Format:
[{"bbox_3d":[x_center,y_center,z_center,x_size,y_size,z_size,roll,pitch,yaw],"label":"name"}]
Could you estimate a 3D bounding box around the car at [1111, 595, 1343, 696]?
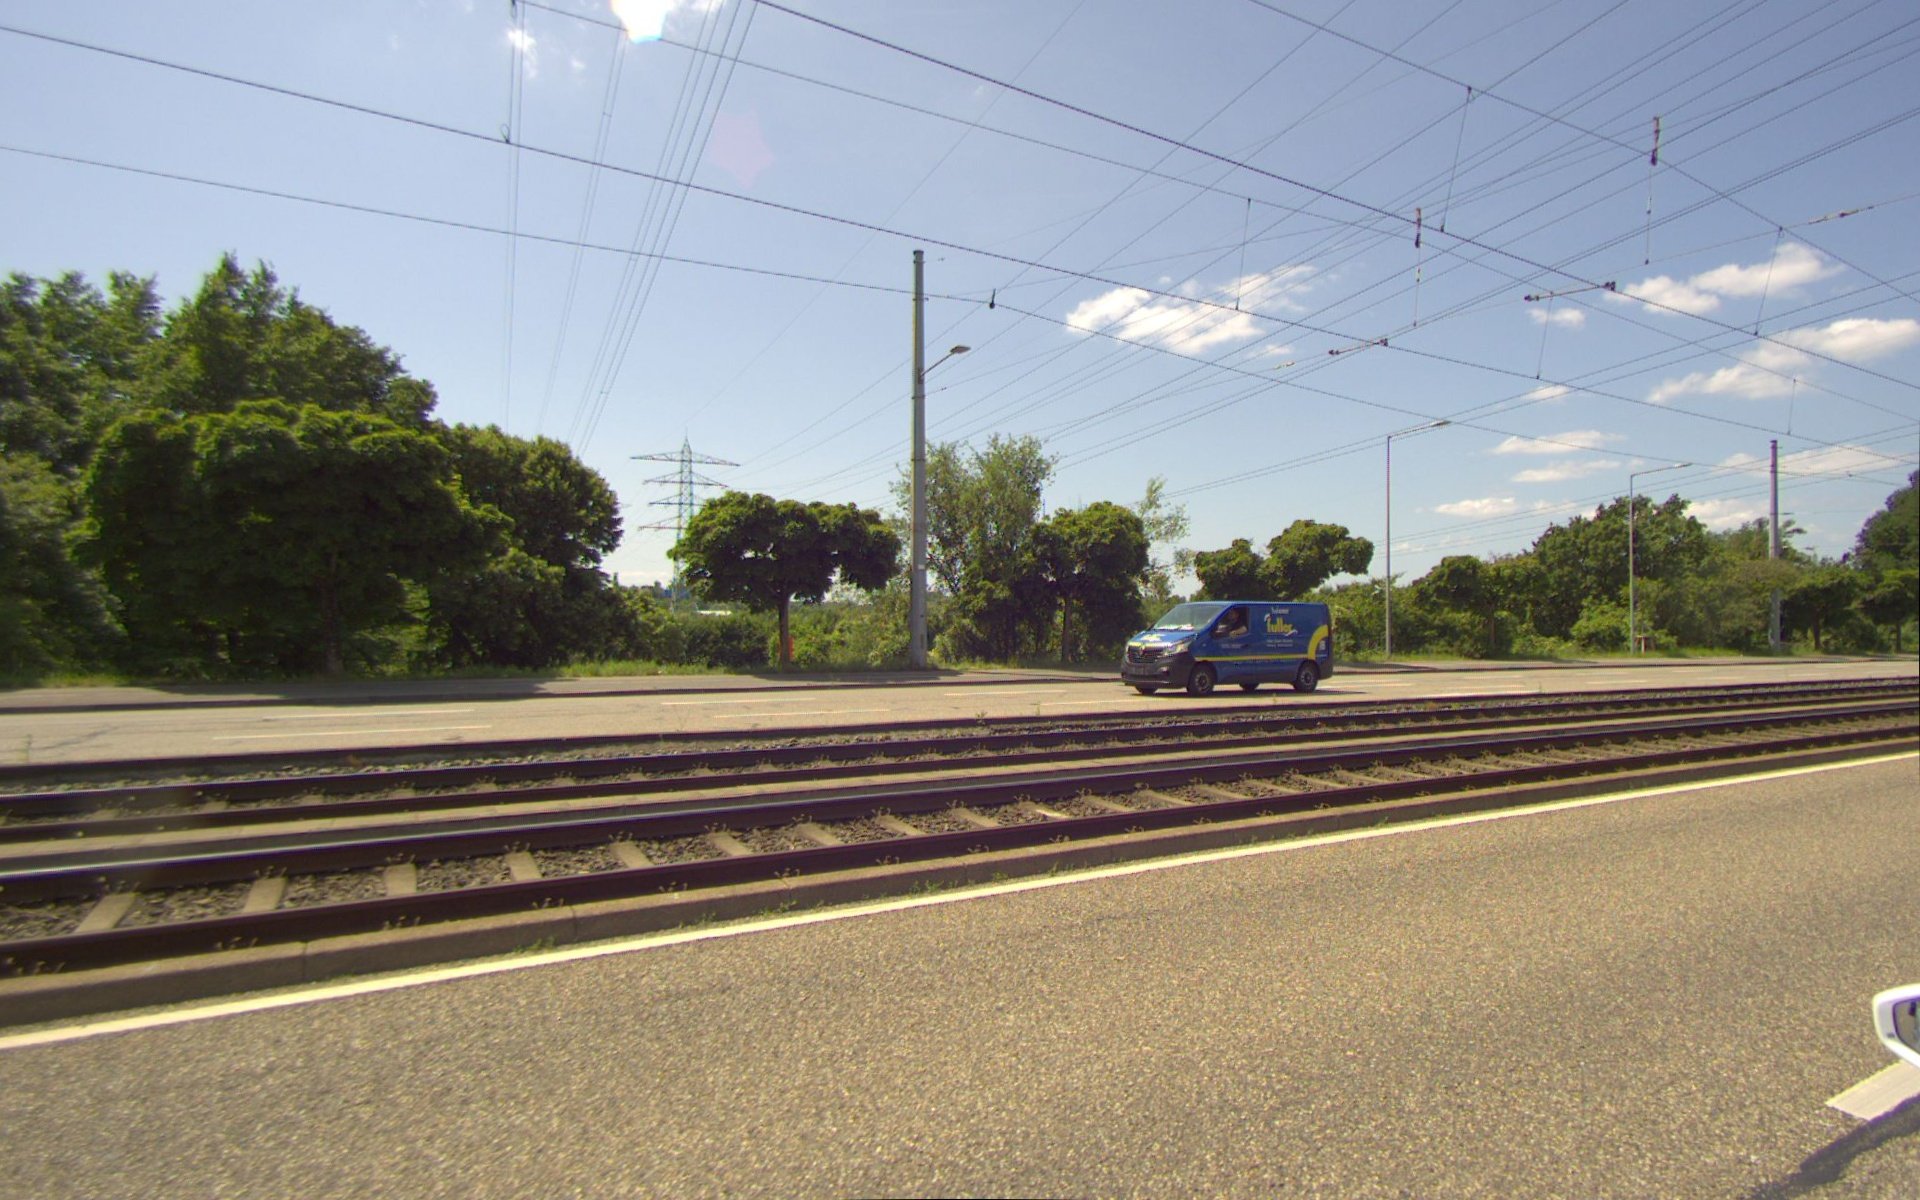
[{"bbox_3d":[5.751,0.950,21.442,4.949,1.953,1.848,1,-2,-30],"label":"car"}]
